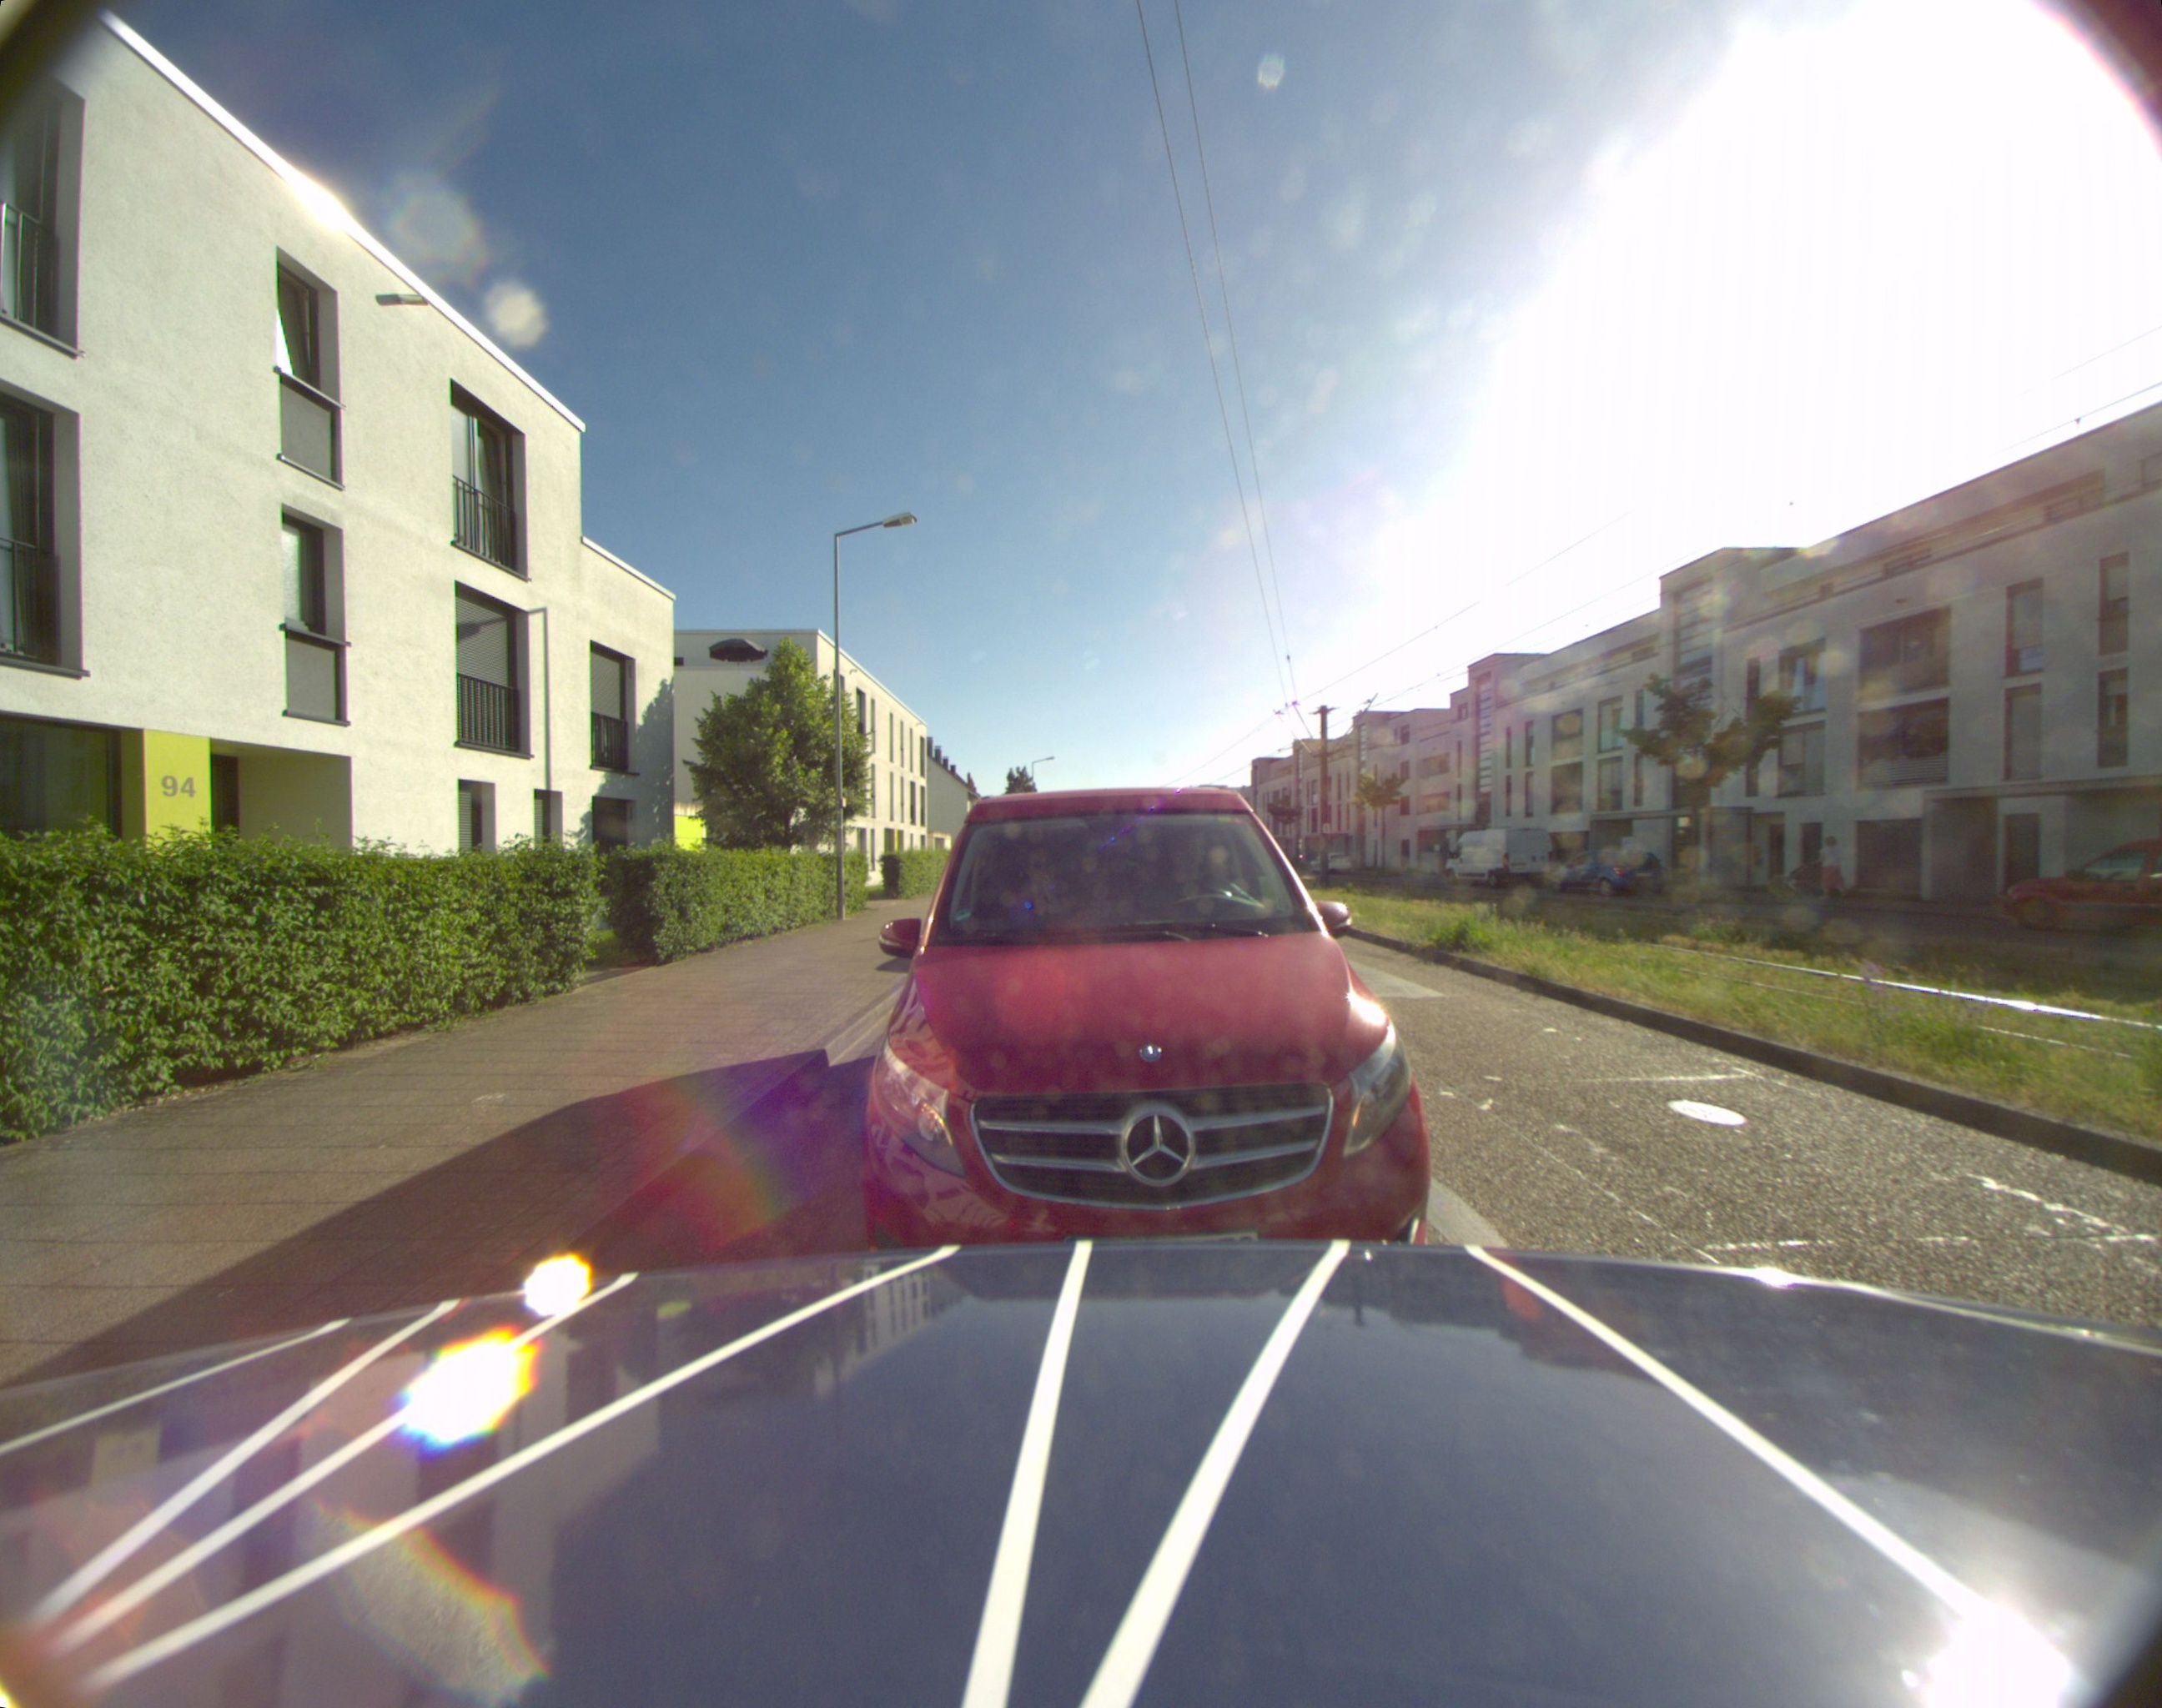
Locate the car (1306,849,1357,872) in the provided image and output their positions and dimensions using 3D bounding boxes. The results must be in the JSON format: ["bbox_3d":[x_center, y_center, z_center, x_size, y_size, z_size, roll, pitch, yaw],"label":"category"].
[{"bbox_3d":[17.633,0.428,53.718,1.923,1.497,4.282,-2,1,-4],"label":"car"}]

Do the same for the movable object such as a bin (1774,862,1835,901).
[{"bbox_3d":[20.864,0.775,21.942,0.729,1.048,1.083,-2,1,1],"label":"movable object such as a bin"}]

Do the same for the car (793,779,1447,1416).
[{"bbox_3d":[0.150,0.709,4.511,1.874,1.843,4.506,-2,1,1],"label":"car"}]

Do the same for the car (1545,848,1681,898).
[{"bbox_3d":[18.375,0.588,26.477,1.999,1.536,3.835,-2,1,0],"label":"car"}]

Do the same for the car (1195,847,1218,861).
[{"bbox_3d":[15.474,-0.024,93.884,1.923,1.671,4.282,-2,1,-4],"label":"car"}]

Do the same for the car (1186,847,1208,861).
[{"bbox_3d":[15.187,-0.046,99.635,1.923,1.671,4.282,-2,1,-4],"label":"car"}]

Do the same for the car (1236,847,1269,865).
[{"bbox_3d":[16.718,0.146,74.332,1.923,1.671,4.282,-2,1,-4],"label":"car"}]

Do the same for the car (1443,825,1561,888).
[{"bbox_3d":[18.168,0.087,33.149,2.225,2.458,5.195,-2,1,0],"label":"car"}]

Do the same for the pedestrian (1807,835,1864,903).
[{"bbox_3d":[20.831,0.408,20.994,0.776,1.812,0.785,-2,1,1],"label":"pedestrian"}]

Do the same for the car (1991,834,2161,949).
[{"bbox_3d":[18.615,0.590,12.786,1.998,1.817,3.895,-2,1,3],"label":"car"}]
